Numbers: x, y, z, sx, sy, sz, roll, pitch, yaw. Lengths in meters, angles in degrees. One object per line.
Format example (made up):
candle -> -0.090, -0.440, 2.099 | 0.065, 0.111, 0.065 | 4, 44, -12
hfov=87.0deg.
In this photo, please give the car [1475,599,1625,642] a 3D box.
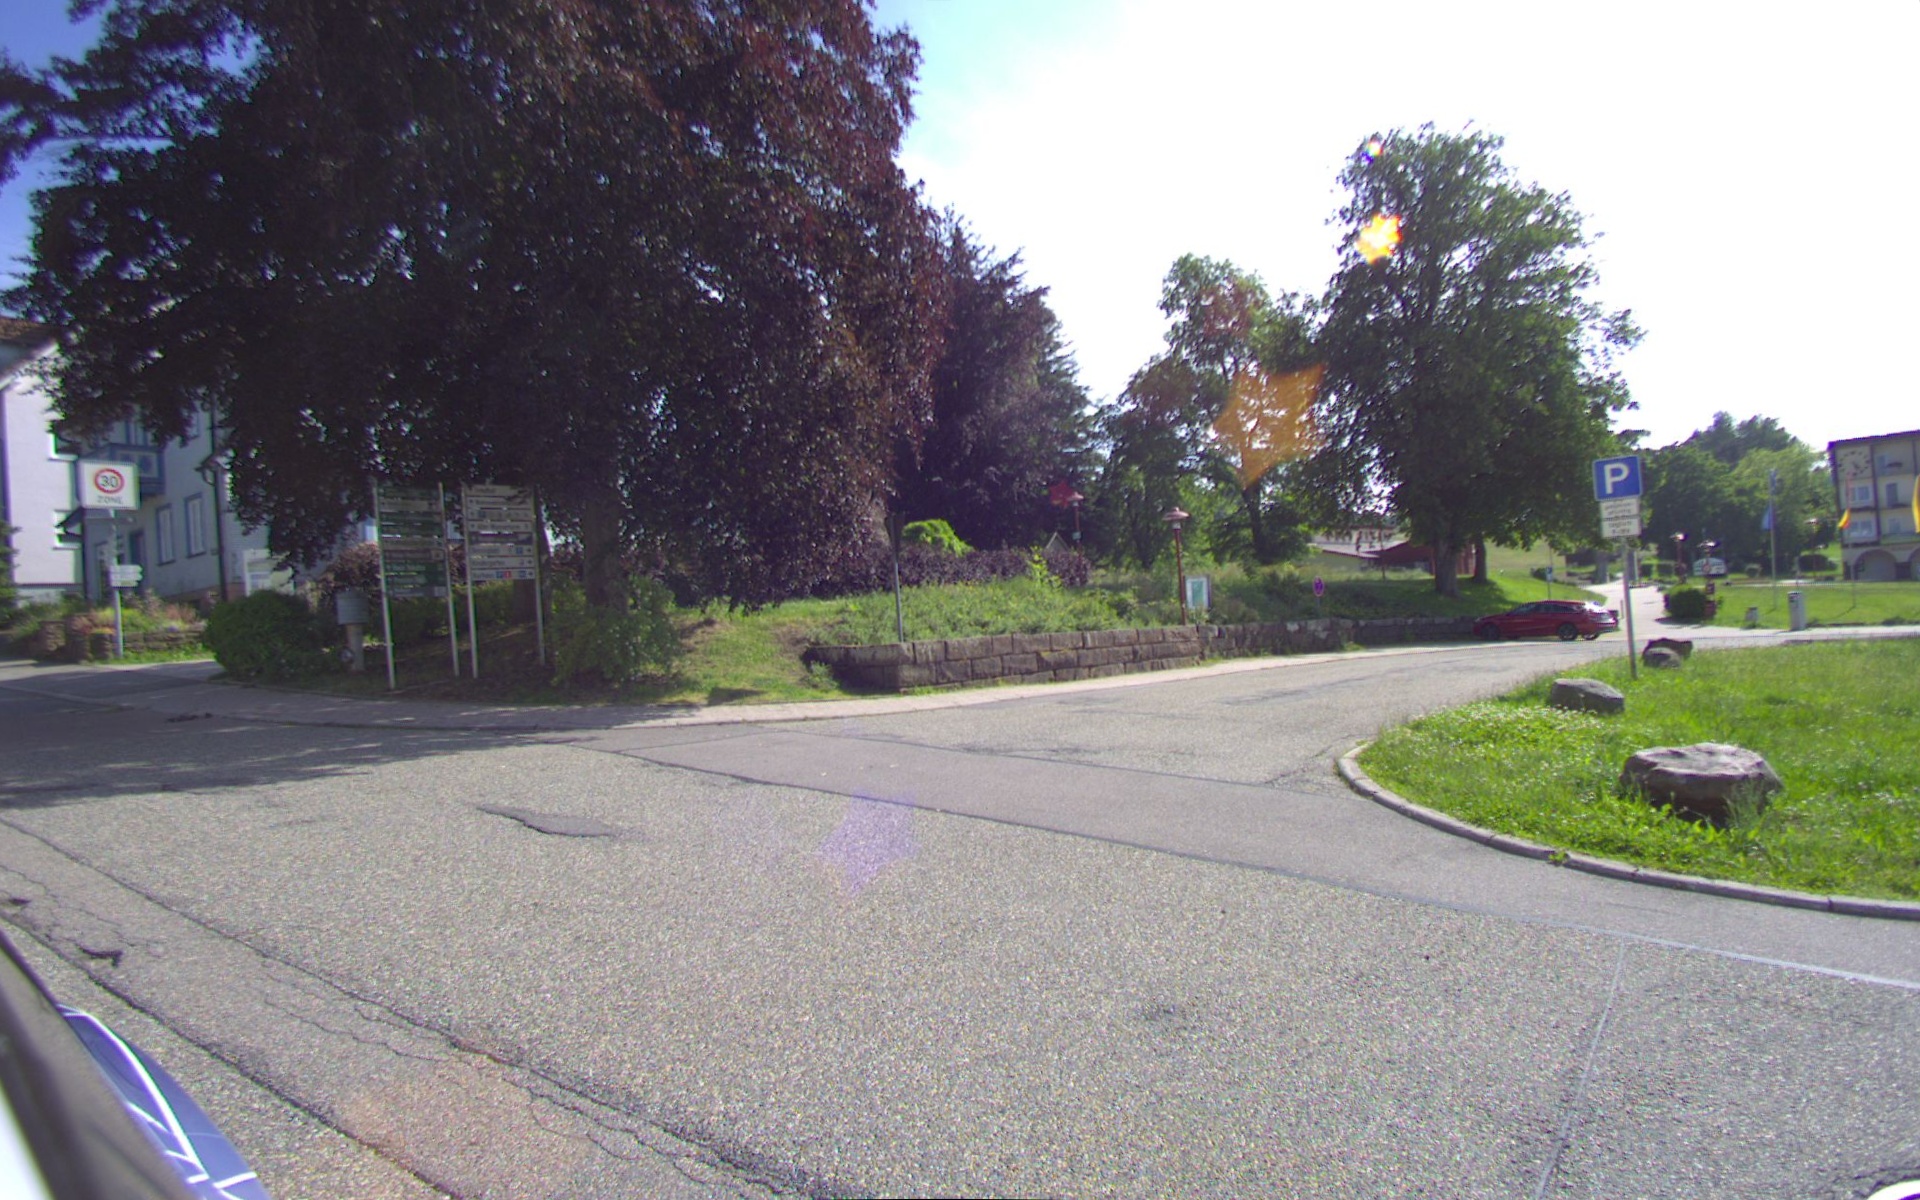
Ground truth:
car -> 20.972, 0.720, 36.134 | 1.793, 1.409, 4.250 | -1, -1, -32
